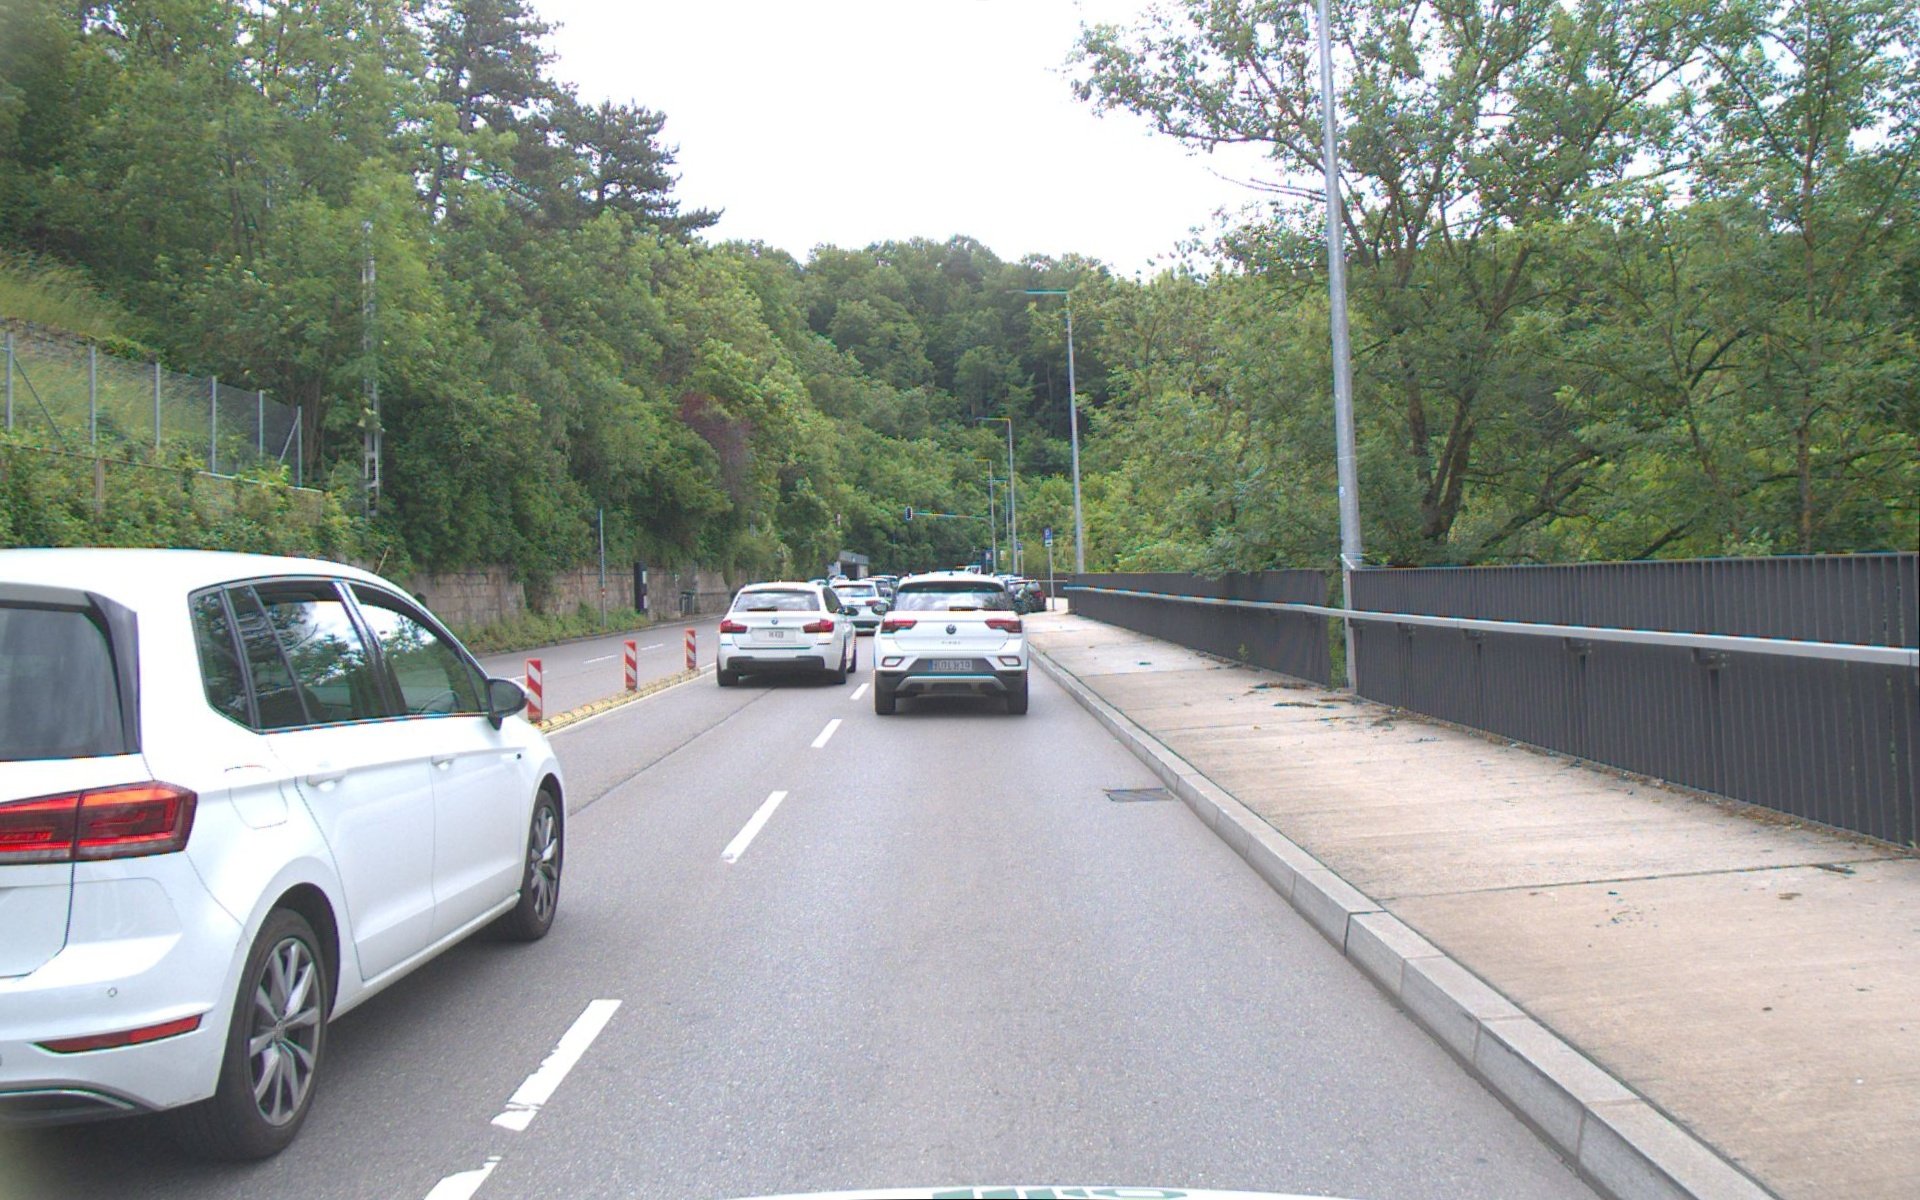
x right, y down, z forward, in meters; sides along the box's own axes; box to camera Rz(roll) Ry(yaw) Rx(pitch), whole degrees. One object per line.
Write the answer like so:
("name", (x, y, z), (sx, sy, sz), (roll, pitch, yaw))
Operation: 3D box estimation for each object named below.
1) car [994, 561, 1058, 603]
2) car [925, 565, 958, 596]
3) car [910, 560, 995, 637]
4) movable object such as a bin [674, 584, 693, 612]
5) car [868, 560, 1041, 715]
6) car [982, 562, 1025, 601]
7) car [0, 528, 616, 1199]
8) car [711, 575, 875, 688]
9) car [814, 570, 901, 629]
("car", (2.416, -0.677, 61.834), (1.780, 1.534, 3.994), (-1, 1, -7))
("car", (-1.205, -1.274, 107.349), (1.954, 1.892, 3.998), (3, 0, -2))
("car", (-0.146, -0.084, 40.816), (1.952, 1.748, 4.115), (-2, 2, 1))
("movable object such as a bin", (-12.283, -0.095, 73.424), (0.702, 1.195, 0.675), (-1, 1, 0))
("car", (0.033, 0.362, 19.819), (1.789, 1.633, 4.002), (-1, 1, 3))
("car", (2.066, -0.910, 79.720), (1.953, 1.747, 4.114), (0, 2, 0))
("car", (-2.532, 0.654, 5.580), (1.783, 1.608, 4.356), (-1, 0, 0))
("car", (-2.407, 0.405, 24.954), (1.790, 1.485, 4.488), (-2, 1, 2))
("car", (-2.790, -0.044, 46.032), (1.952, 1.529, 4.669), (-1, 1, 2))
